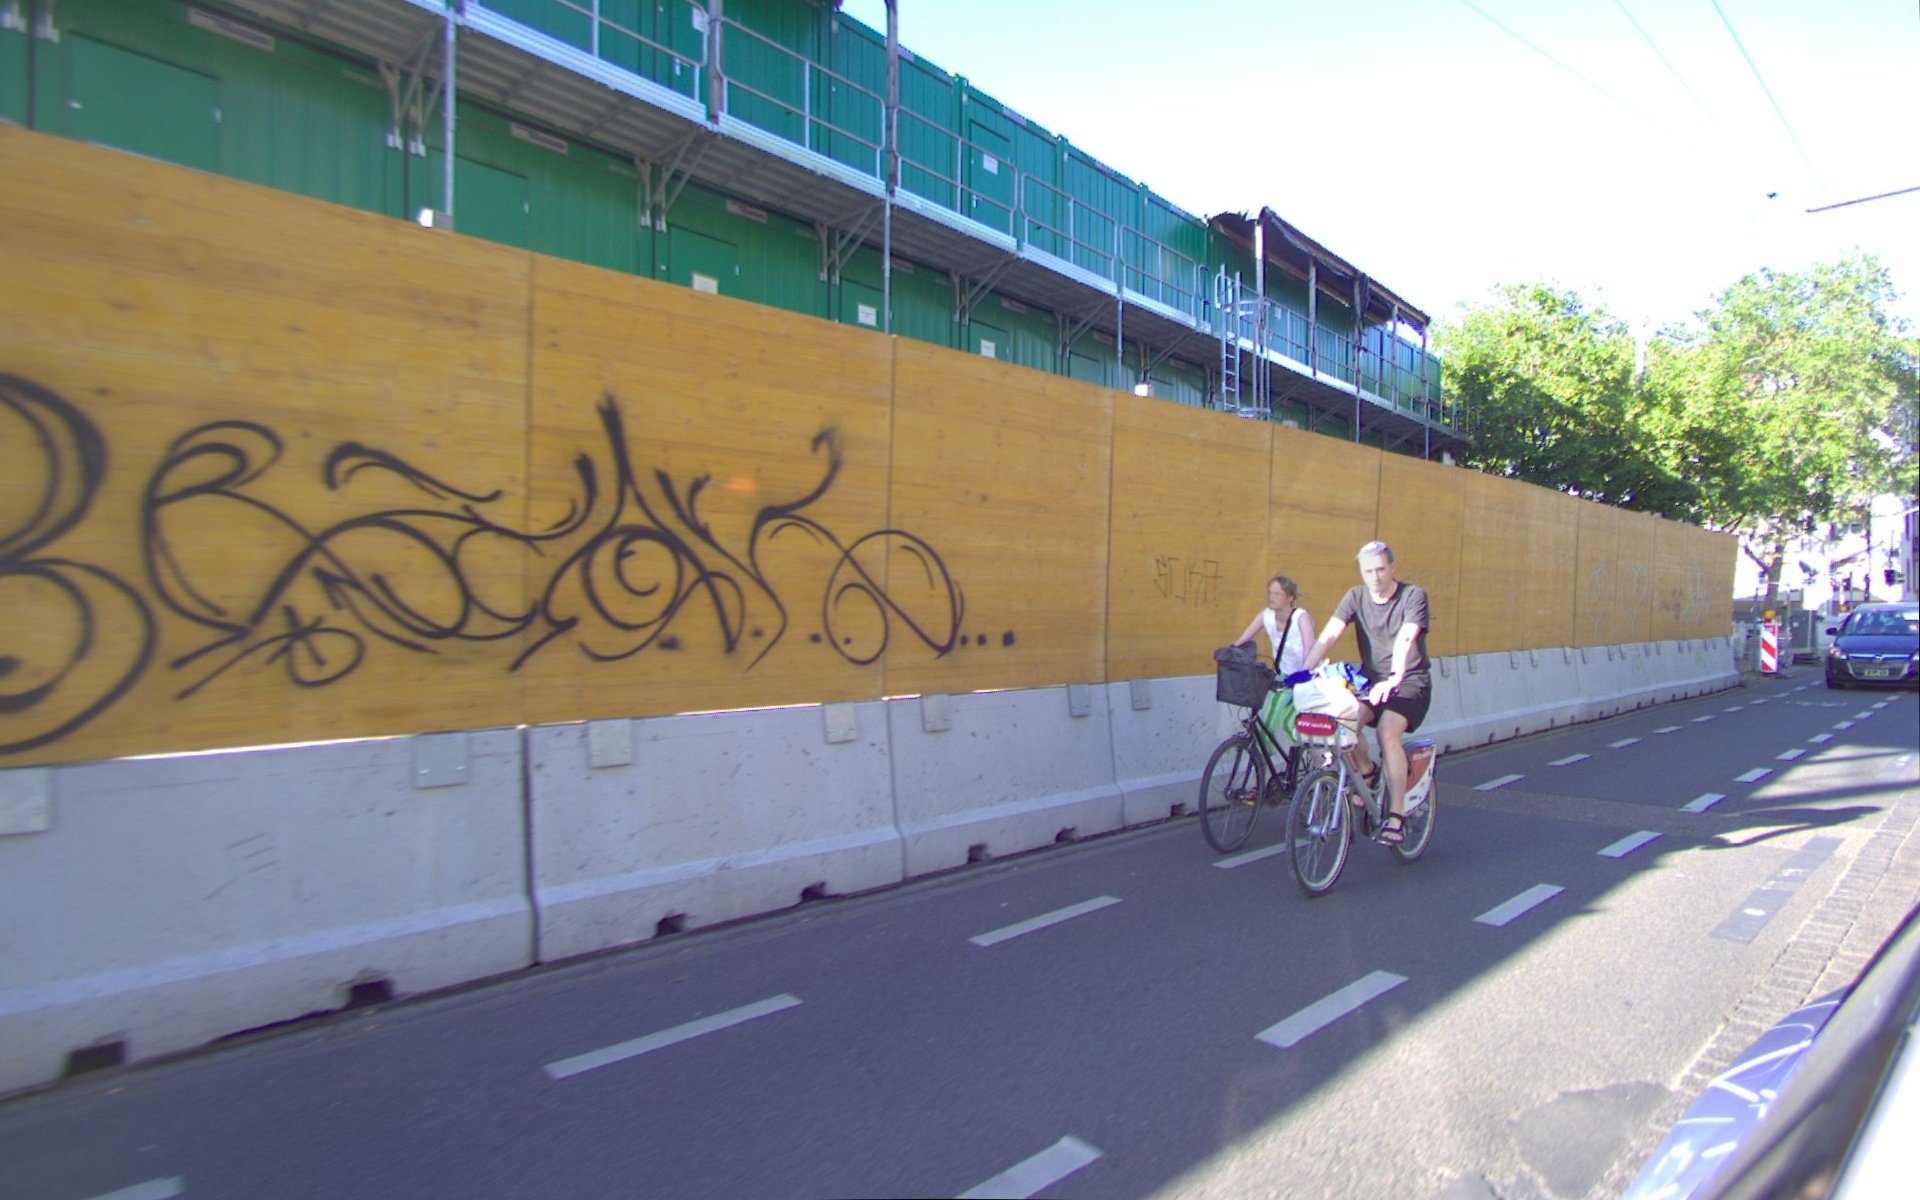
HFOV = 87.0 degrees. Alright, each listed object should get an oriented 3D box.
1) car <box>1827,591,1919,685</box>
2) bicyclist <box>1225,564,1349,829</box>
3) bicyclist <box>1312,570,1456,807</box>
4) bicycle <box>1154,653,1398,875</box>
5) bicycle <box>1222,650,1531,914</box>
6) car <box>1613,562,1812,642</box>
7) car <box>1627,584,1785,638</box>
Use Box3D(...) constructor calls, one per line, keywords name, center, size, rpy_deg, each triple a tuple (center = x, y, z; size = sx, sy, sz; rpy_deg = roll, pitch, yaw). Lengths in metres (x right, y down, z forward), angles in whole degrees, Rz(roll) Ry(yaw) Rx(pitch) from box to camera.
Box3D(name="car", center=(18.245, 0.665, 19.431), size=(4.095, 1.642, 1.749), rpy_deg=(0, 0, -39))
Box3D(name="bicyclist", center=(2.149, 0.591, 6.655), size=(0.567, 1.633, 0.556), rpy_deg=(1, 0, -44))
Box3D(name="bicyclist", center=(2.377, 0.461, 5.695), size=(0.348, 1.253, 0.652), rpy_deg=(1, 0, -43))
Box3D(name="bicycle", center=(2.165, 0.977, 6.703), size=(2.239, 1.141, 0.557), rpy_deg=(0, 1, -45))
Box3D(name="bicycle", center=(2.458, 0.911, 5.801), size=(2.235, 1.169, 0.668), rpy_deg=(0, -1, -40))
Box3D(name="car", center=(26.227, -0.004, 35.442), size=(1.980, 2.594, 5.329), rpy_deg=(0, 1, -42))
Box3D(name="car", center=(30.055, 0.402, 40.919), size=(1.963, 2.035, 4.795), rpy_deg=(0, 0, -37))
